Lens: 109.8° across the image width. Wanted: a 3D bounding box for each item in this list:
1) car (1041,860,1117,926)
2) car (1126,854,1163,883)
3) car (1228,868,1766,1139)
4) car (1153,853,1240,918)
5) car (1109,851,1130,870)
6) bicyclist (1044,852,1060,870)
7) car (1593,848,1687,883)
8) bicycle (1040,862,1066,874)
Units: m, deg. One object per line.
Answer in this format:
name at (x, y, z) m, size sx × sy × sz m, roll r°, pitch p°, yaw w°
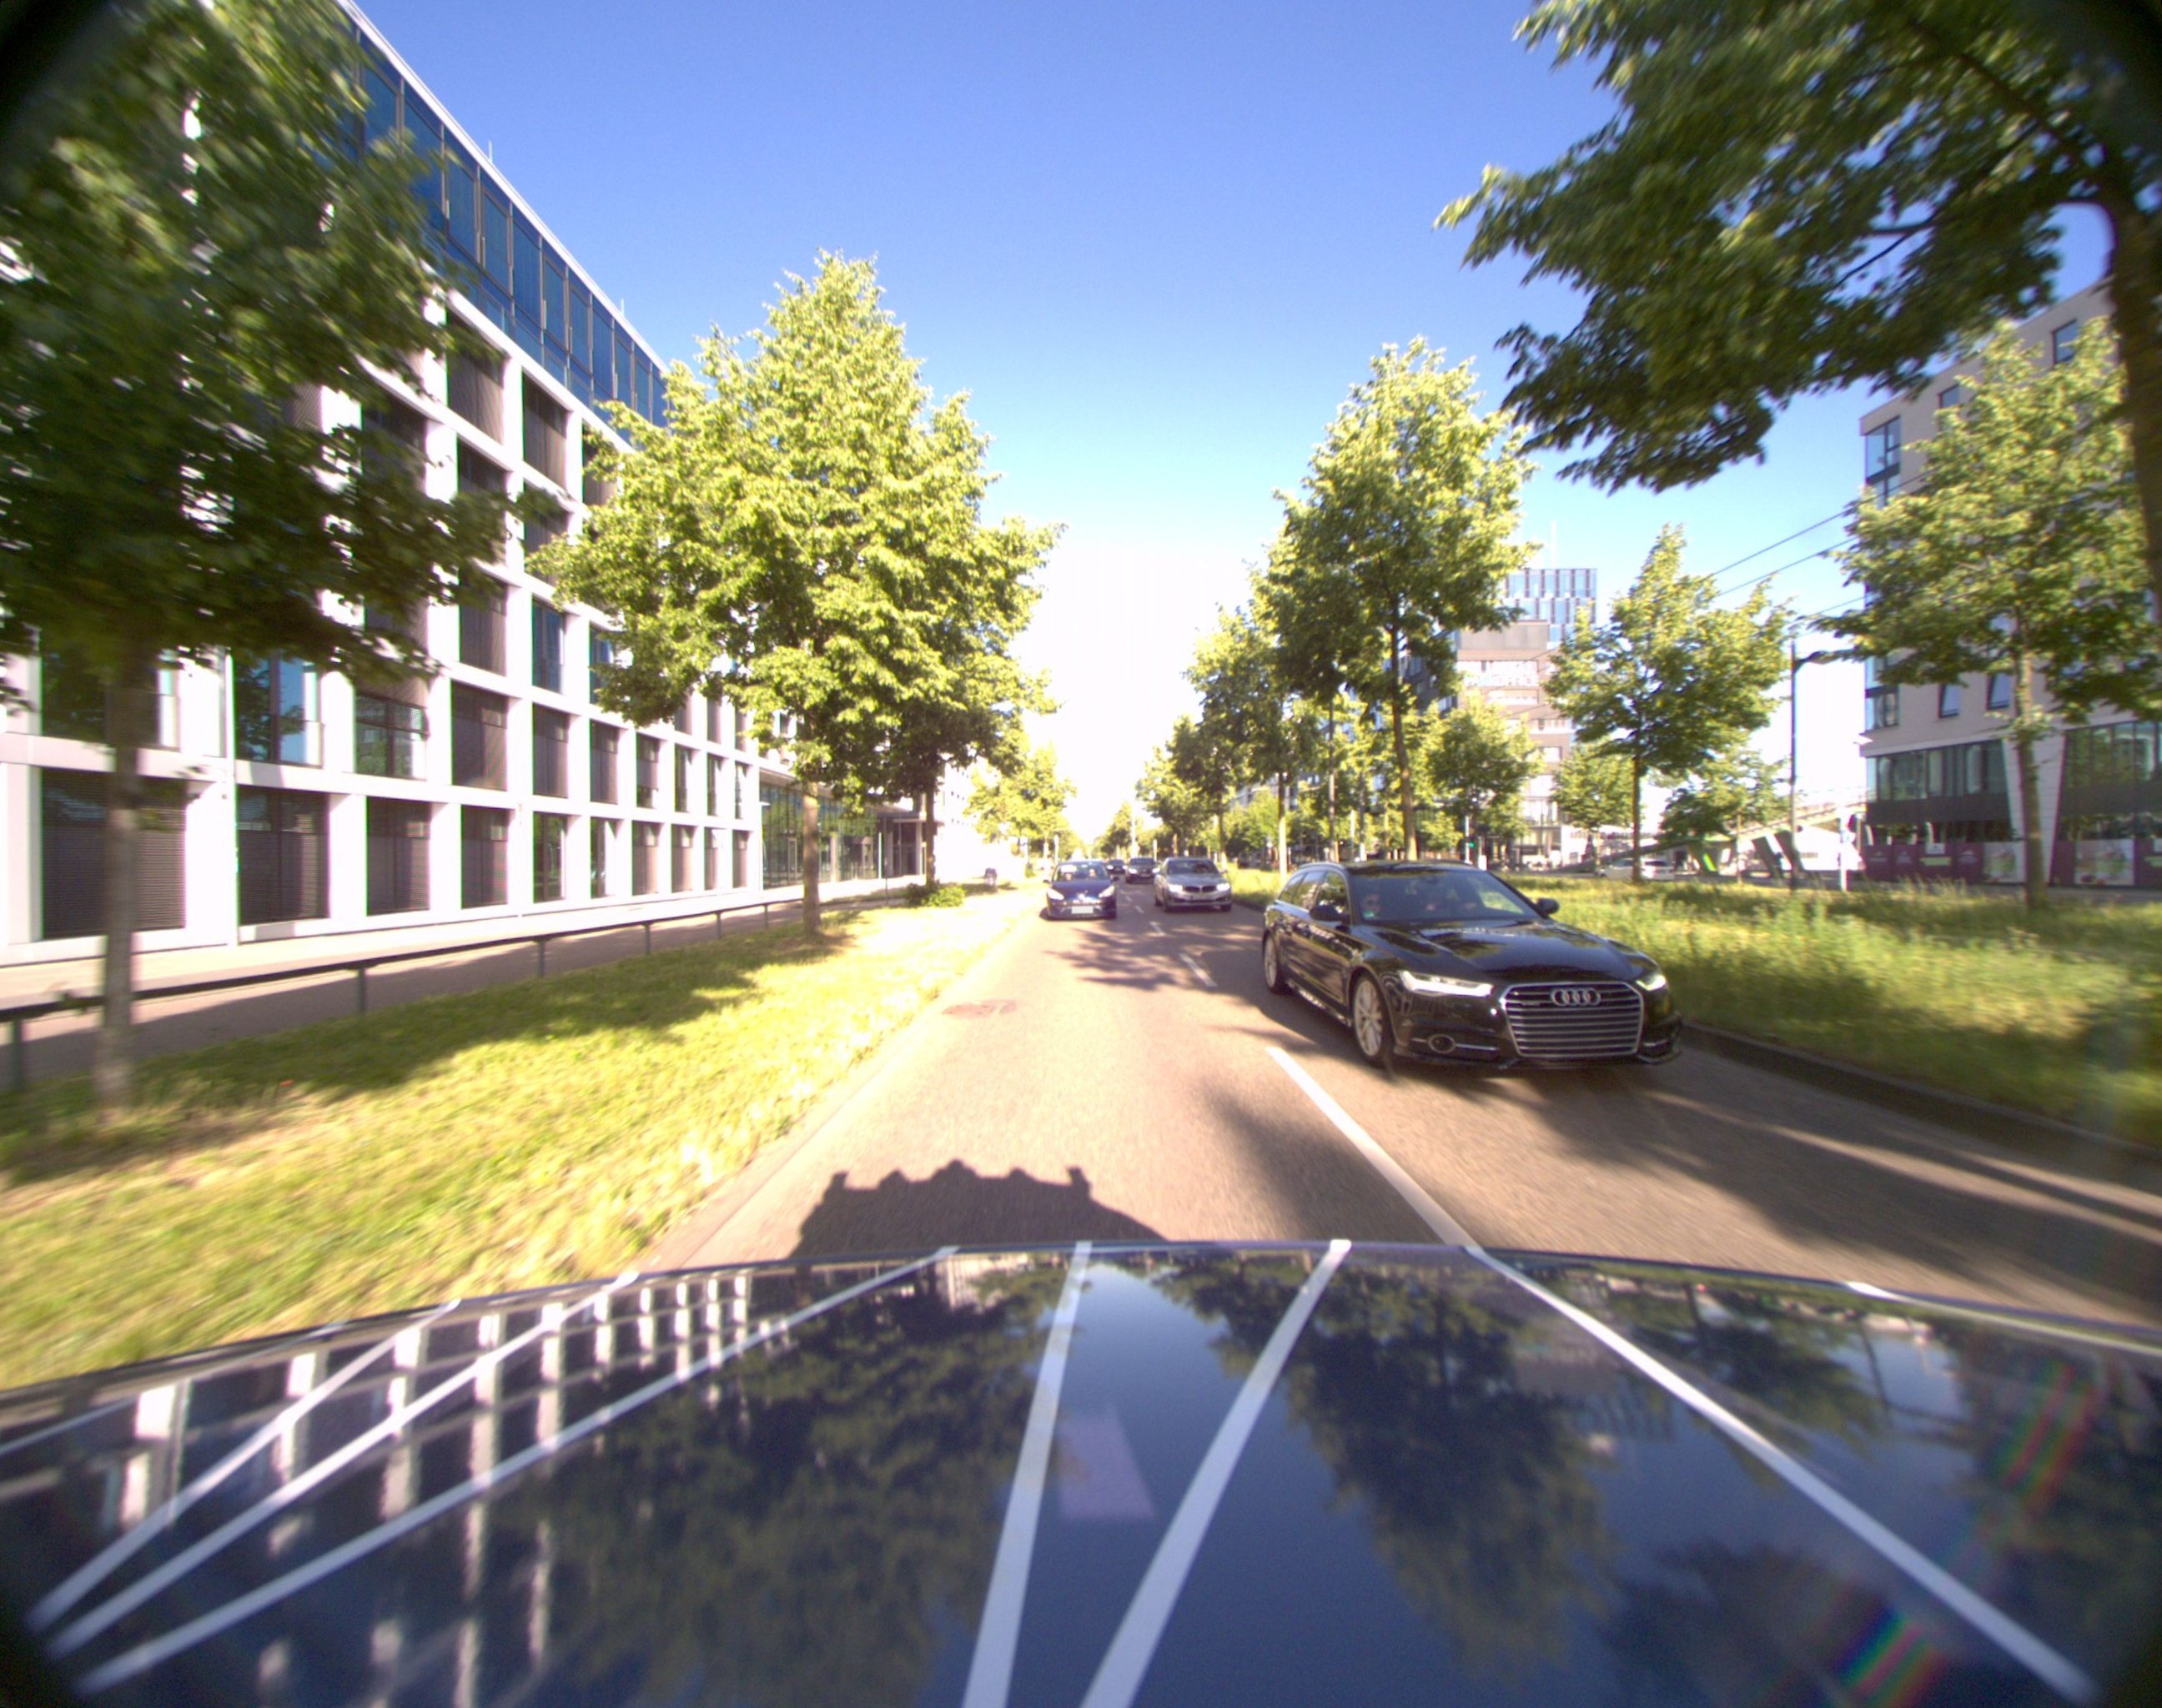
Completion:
car at (0.033, 0.943, 20.132) m, size 1.766 × 1.462 × 4.000 m, roll -2°, pitch 0°, yaw 2°
car at (3.596, 0.785, 43.867) m, size 1.950 × 1.513 × 4.000 m, roll -2°, pitch 0°, yaw 3°
car at (2.825, 0.883, 6.796) m, size 1.958 × 1.471 × 5.085 m, roll -1°, pitch -1°, yaw -1°
car at (3.172, 0.812, 21.684) m, size 1.886 × 1.569 × 4.278 m, roll -2°, pitch 0°, yaw 1°
car at (3.454, 0.568, 69.151) m, size 1.782 × 1.571 × 3.784 m, roll -2°, pitch 0°, yaw 1°
bicyclist at (-2.184, 0.513, 57.550) m, size 1.086 × 1.315 × 0.639 m, roll -1°, pitch 0°, yaw 4°
car at (32.139, 0.625, 43.888) m, size 2.106 × 1.798 × 4.420 m, roll -2°, pitch 0°, yaw -1°
bicycle at (-2.128, 1.061, 57.552) m, size 1.927 × 0.899 × 0.647 m, roll -1°, pitch 0°, yaw 4°
